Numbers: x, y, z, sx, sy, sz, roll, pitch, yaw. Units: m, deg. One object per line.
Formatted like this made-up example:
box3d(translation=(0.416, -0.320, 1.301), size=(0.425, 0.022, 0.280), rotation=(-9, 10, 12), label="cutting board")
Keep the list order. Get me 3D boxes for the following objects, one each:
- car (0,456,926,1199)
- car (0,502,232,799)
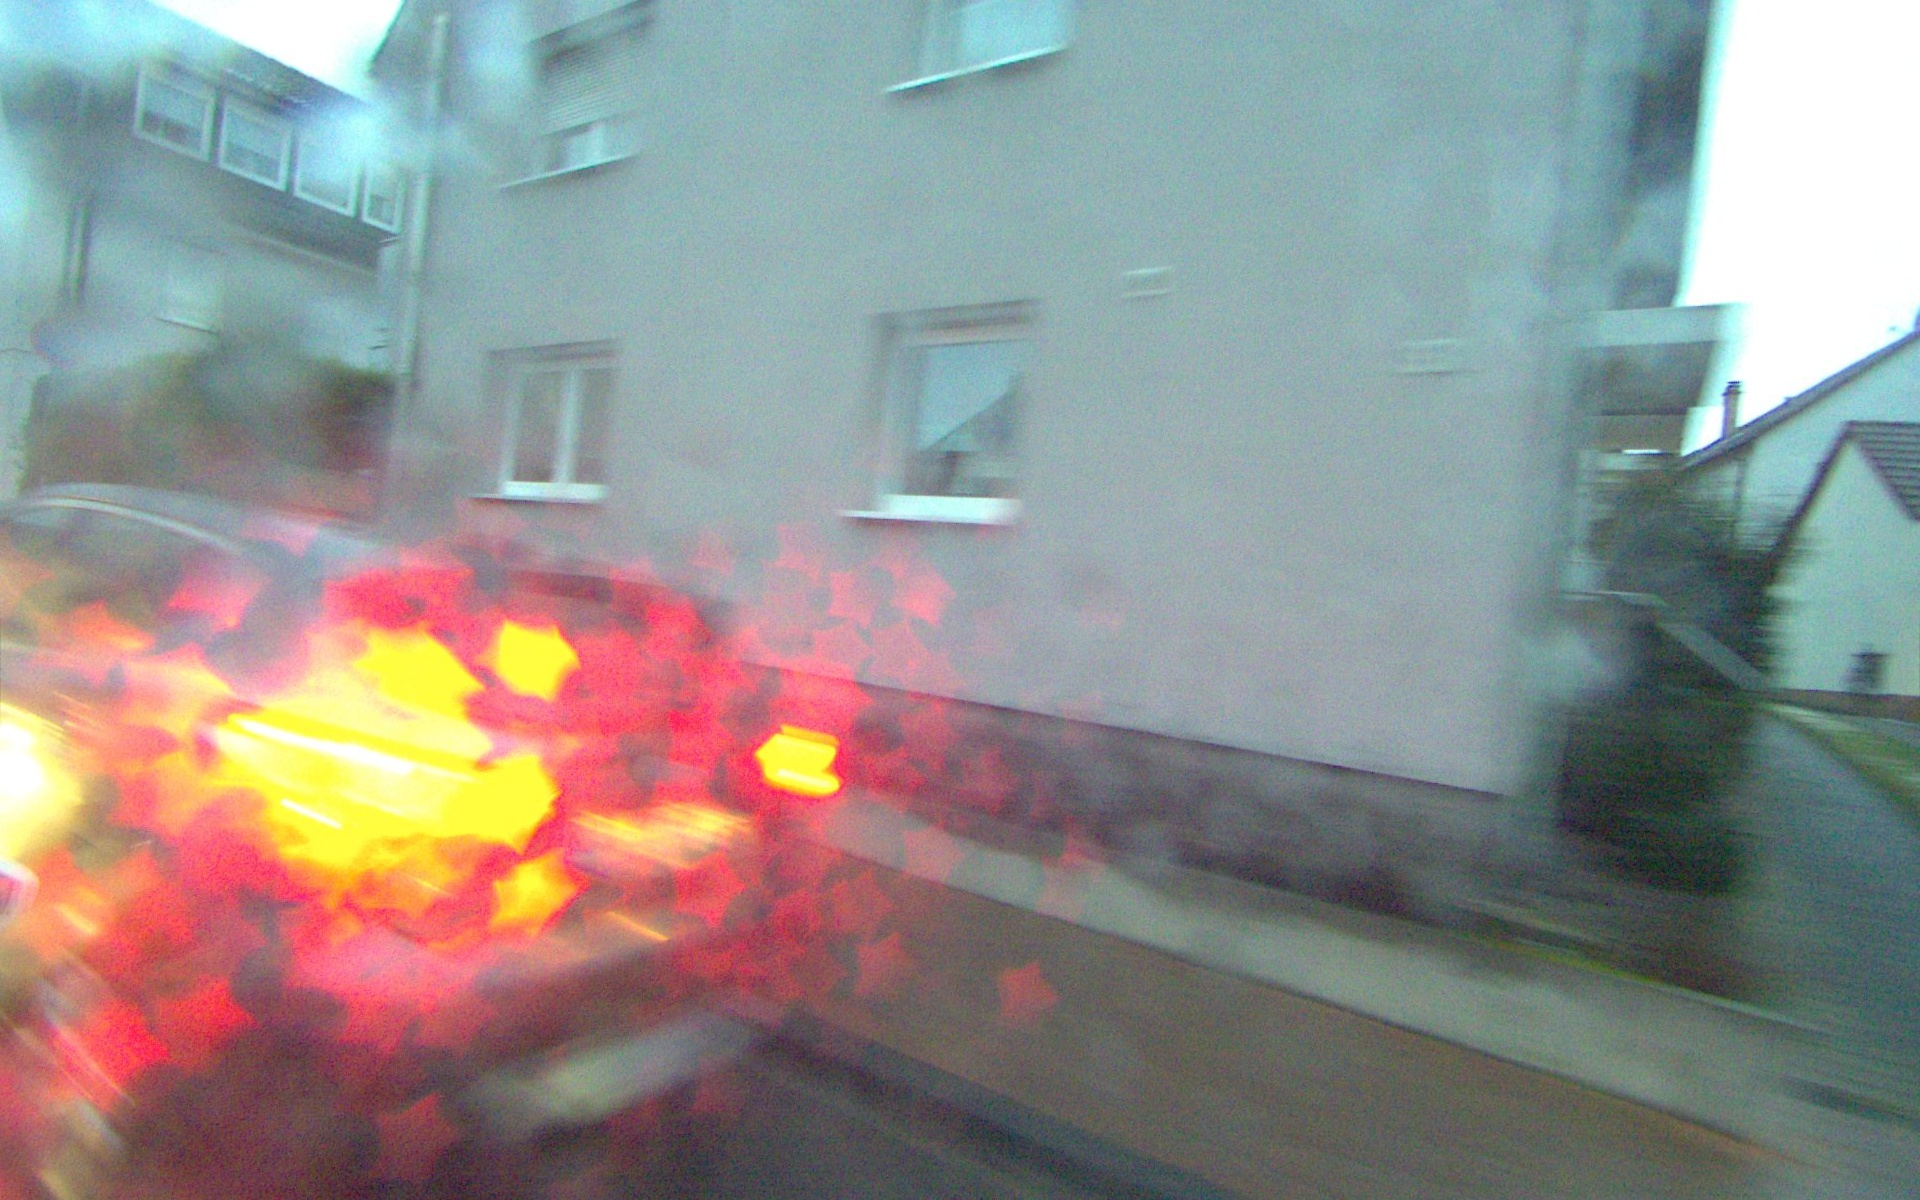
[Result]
box3d(translation=(-2.321, 0.458, 3.371), size=(3.933, 1.553, 1.801), rotation=(7, -1, 31), label="car")
box3d(translation=(-6.140, 0.086, 5.919), size=(3.690, 1.412, 1.681), rotation=(7, -1, 33), label="car")
